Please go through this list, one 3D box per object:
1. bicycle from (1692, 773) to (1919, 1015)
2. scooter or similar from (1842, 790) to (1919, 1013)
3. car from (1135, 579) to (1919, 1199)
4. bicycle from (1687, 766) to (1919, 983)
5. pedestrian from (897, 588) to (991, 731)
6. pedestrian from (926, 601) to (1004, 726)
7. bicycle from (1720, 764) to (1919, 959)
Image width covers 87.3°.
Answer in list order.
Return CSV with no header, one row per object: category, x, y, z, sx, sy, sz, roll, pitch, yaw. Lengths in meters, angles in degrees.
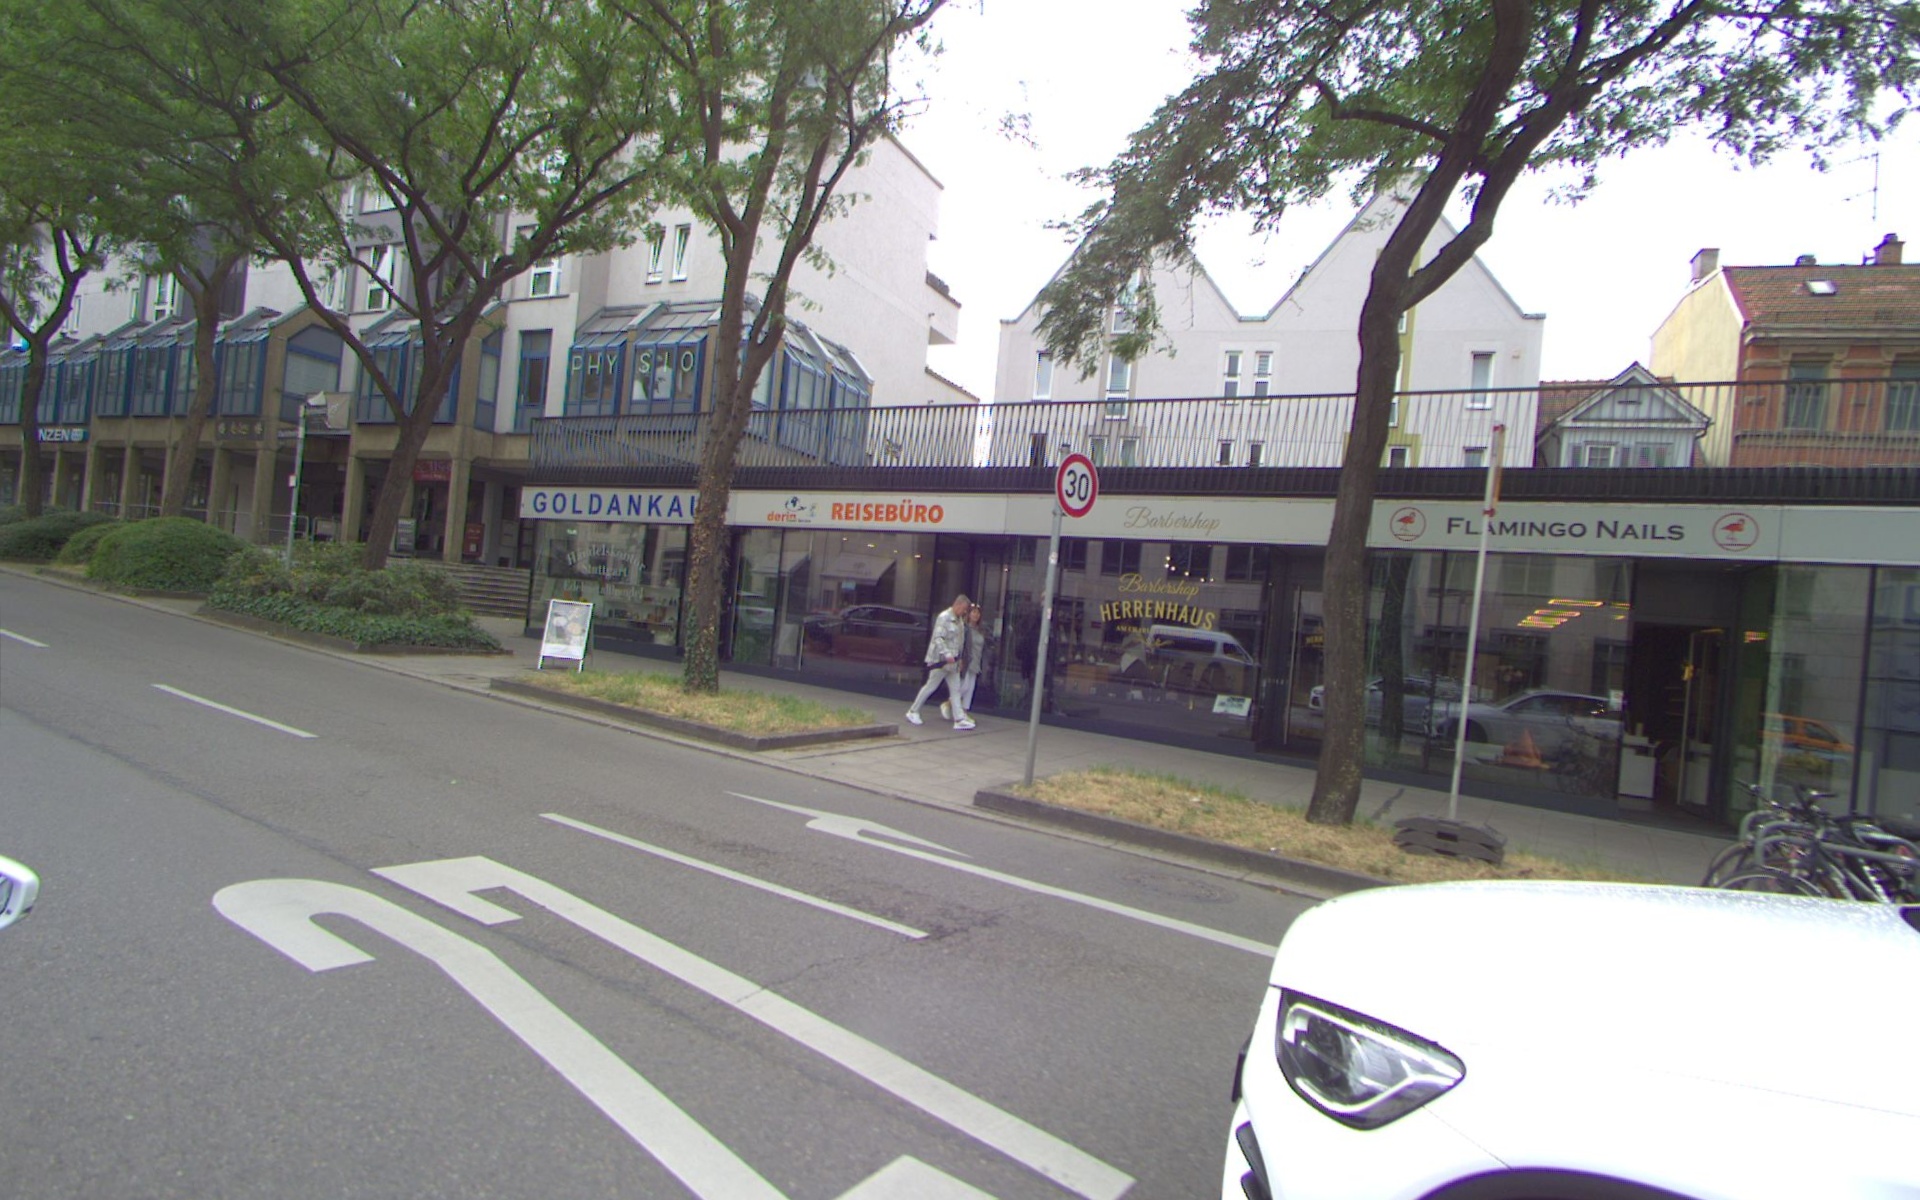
bicycle,5.480,1.762,5.874,1.813,1.146,0.490,6,0,31
scooter or similar,6.098,1.882,6.099,0.978,1.267,0.306,6,0,19
car,2.615,1.030,1.490,4.262,1.667,1.803,6,1,31
bicycle,6.057,1.848,6.659,1.854,1.146,0.490,6,0,26
pedestrian,-0.217,0.790,13.542,0.924,1.776,0.596,7,1,27
pedestrian,0.072,0.883,14.184,0.744,1.649,0.596,7,1,26
bicycle,6.665,1.926,7.326,1.661,1.146,0.490,6,0,33
